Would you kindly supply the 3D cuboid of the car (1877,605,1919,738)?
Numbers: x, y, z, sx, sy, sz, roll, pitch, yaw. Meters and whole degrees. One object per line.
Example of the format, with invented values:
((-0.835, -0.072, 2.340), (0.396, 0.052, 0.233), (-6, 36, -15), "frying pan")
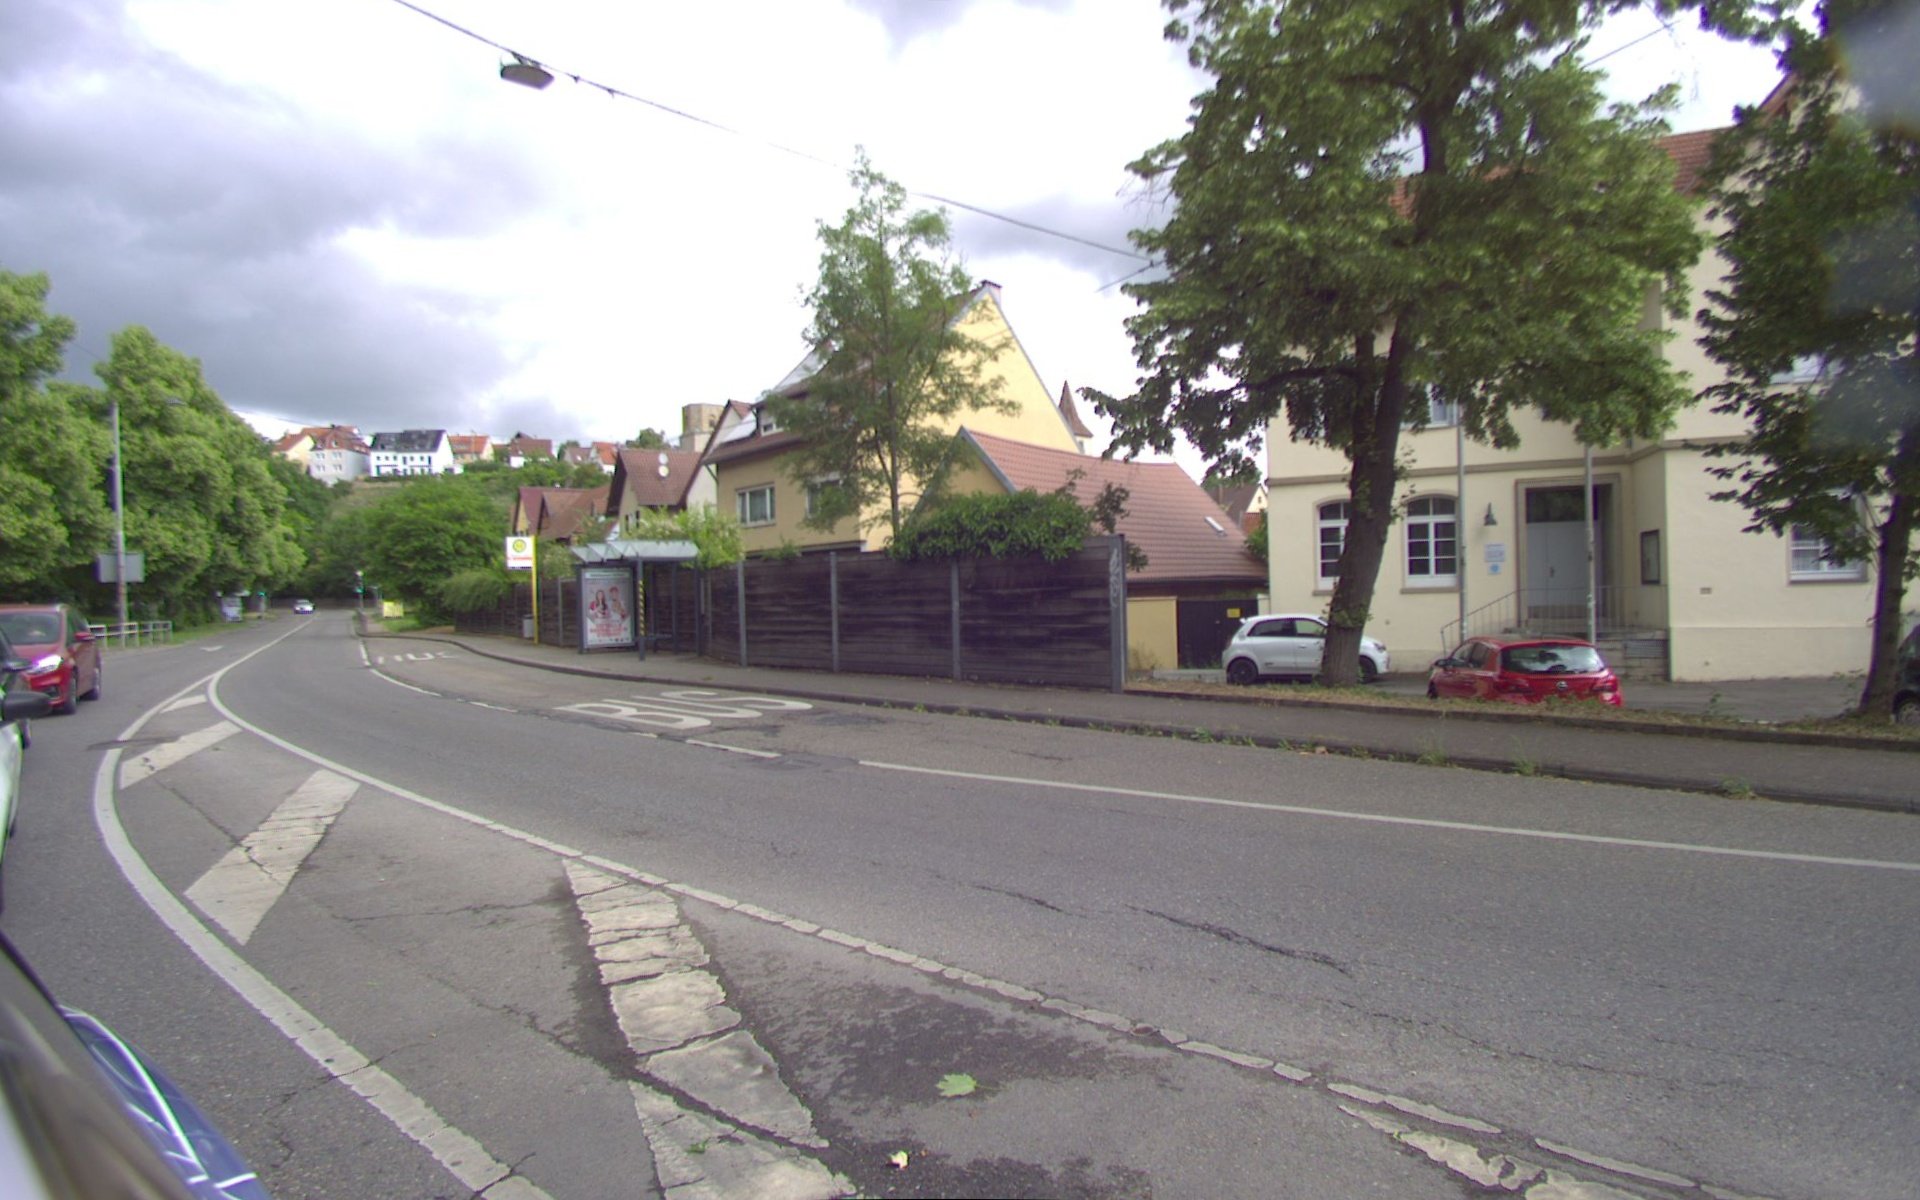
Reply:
((12.693, 0.888, 11.588), (1.586, 1.644, 3.093), (-1, 0, 2), "car")

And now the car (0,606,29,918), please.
((-6.038, 0.815, 5.277), (1.594, 1.525, 3.610), (-1, 0, -41), "car")

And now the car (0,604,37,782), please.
((-10.231, 0.851, 9.856), (1.699, 1.559, 3.787), (-1, 0, -41), "car")

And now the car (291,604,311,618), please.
((-79.924, 1.325, 122.727), (1.817, 1.652, 4.010), (-1, 0, -35), "car")

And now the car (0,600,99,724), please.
((-14.517, 0.876, 15.439), (1.800, 1.685, 4.067), (-1, 0, -37), "car")

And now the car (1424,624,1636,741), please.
((8.119, 1.103, 14.771), (1.590, 1.389, 3.544), (-1, 0, 10), "car")

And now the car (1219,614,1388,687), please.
((7.739, 1.107, 22.926), (3.487, 1.528, 1.581), (-1, 0, 20), "car")
